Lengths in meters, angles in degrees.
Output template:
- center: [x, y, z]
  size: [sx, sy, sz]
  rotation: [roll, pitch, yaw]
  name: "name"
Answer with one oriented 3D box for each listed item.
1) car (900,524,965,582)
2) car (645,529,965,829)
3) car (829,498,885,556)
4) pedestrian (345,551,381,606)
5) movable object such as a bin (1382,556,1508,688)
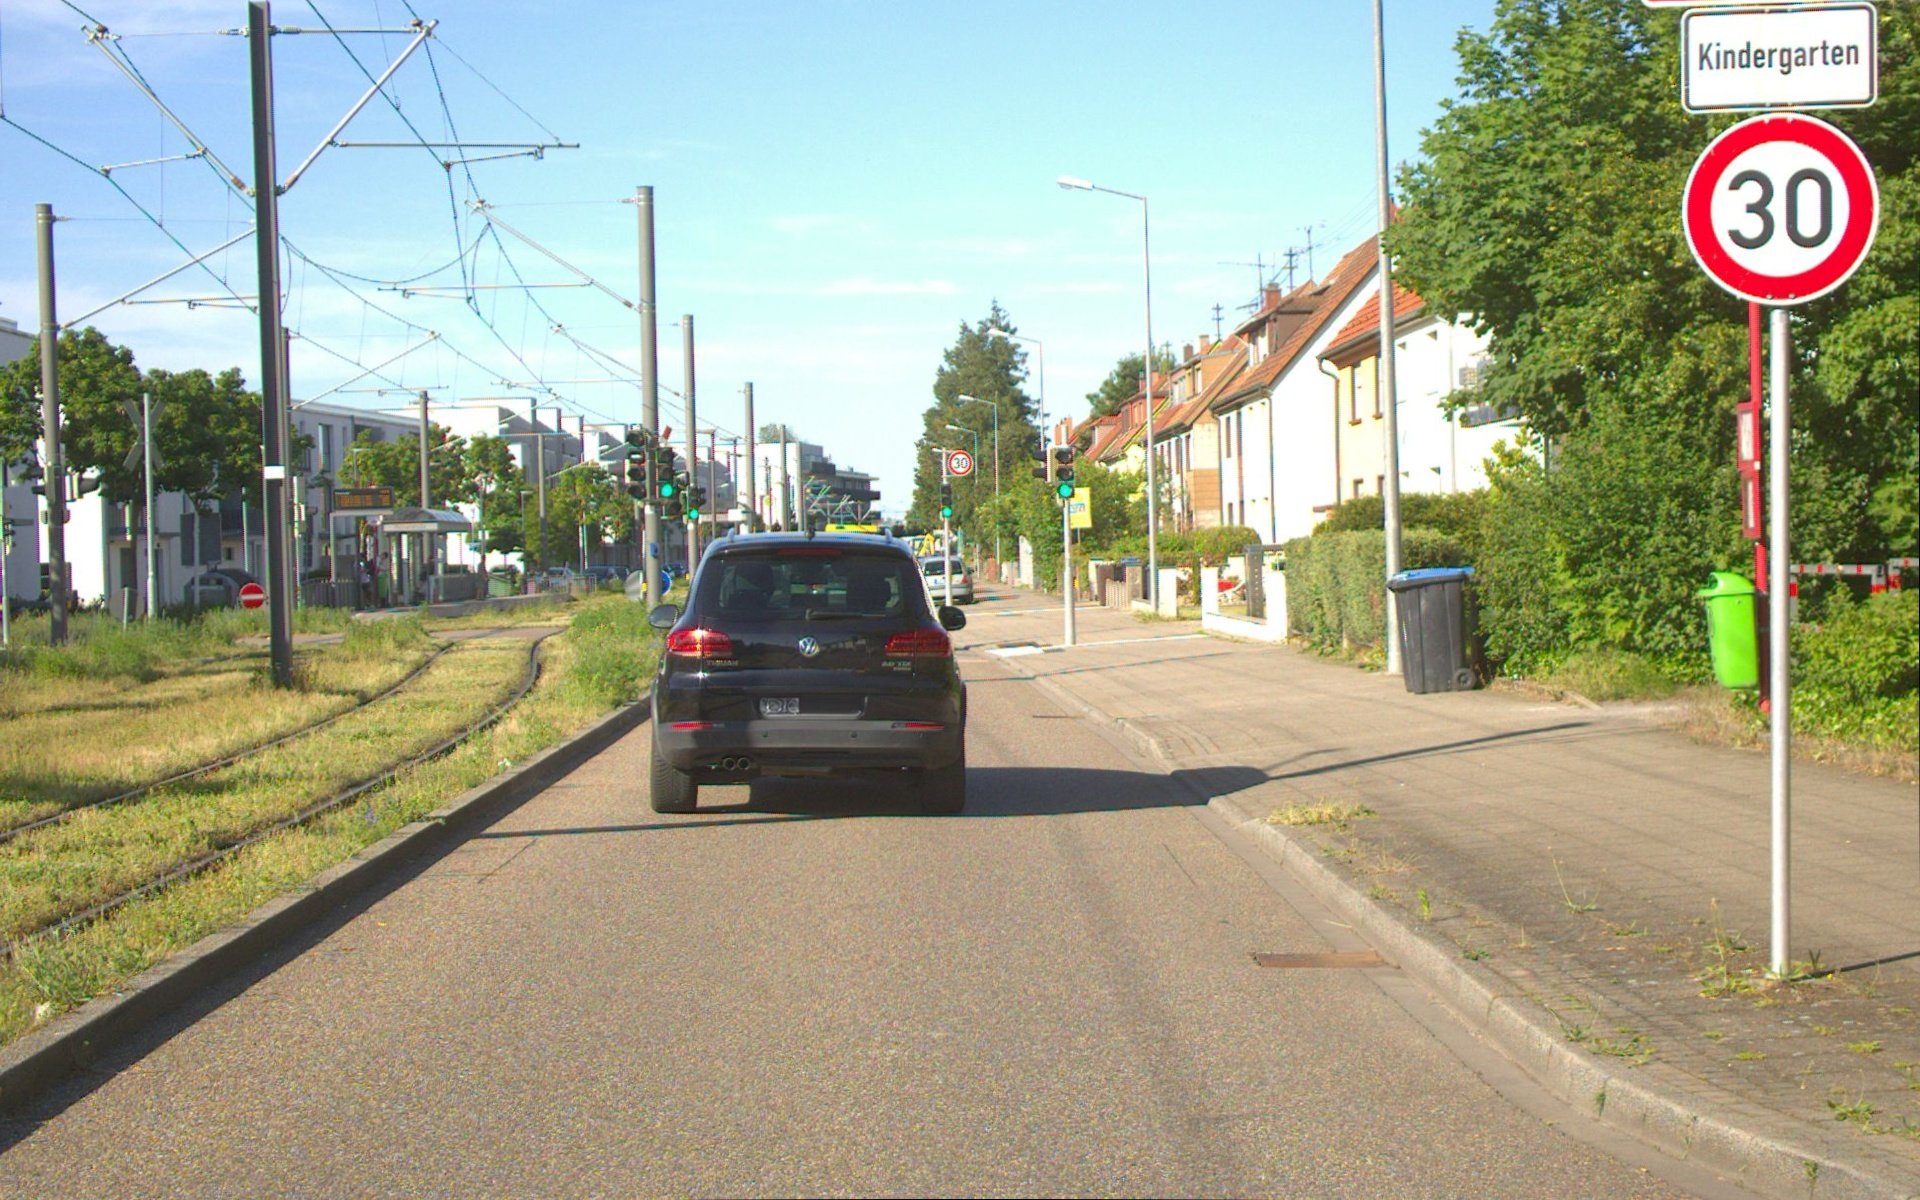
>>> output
- center: [-0.848, -1.440, 104.213]
  size: [1.775, 1.664, 4.001]
  rotation: [-2, 1, -3]
  name: "car"
- center: [-0.963, 0.402, 21.136]
  size: [1.775, 1.664, 4.001]
  rotation: [0, 1, -3]
  name: "car"
- center: [-4.714, -3.378, 158.342]
  size: [2.394, 2.556, 5.530]
  rotation: [-2, 1, -1]
  name: "car"
- center: [-17.276, -0.625, 99.471]
  size: [0.881, 1.581, 0.628]
  rotation: [-2, 1, -19]
  name: "pedestrian"
- center: [4.303, 0.188, 30.562]
  size: [0.976, 1.107, 1.170]
  rotation: [-2, 1, 3]
  name: "movable object such as a bin"
